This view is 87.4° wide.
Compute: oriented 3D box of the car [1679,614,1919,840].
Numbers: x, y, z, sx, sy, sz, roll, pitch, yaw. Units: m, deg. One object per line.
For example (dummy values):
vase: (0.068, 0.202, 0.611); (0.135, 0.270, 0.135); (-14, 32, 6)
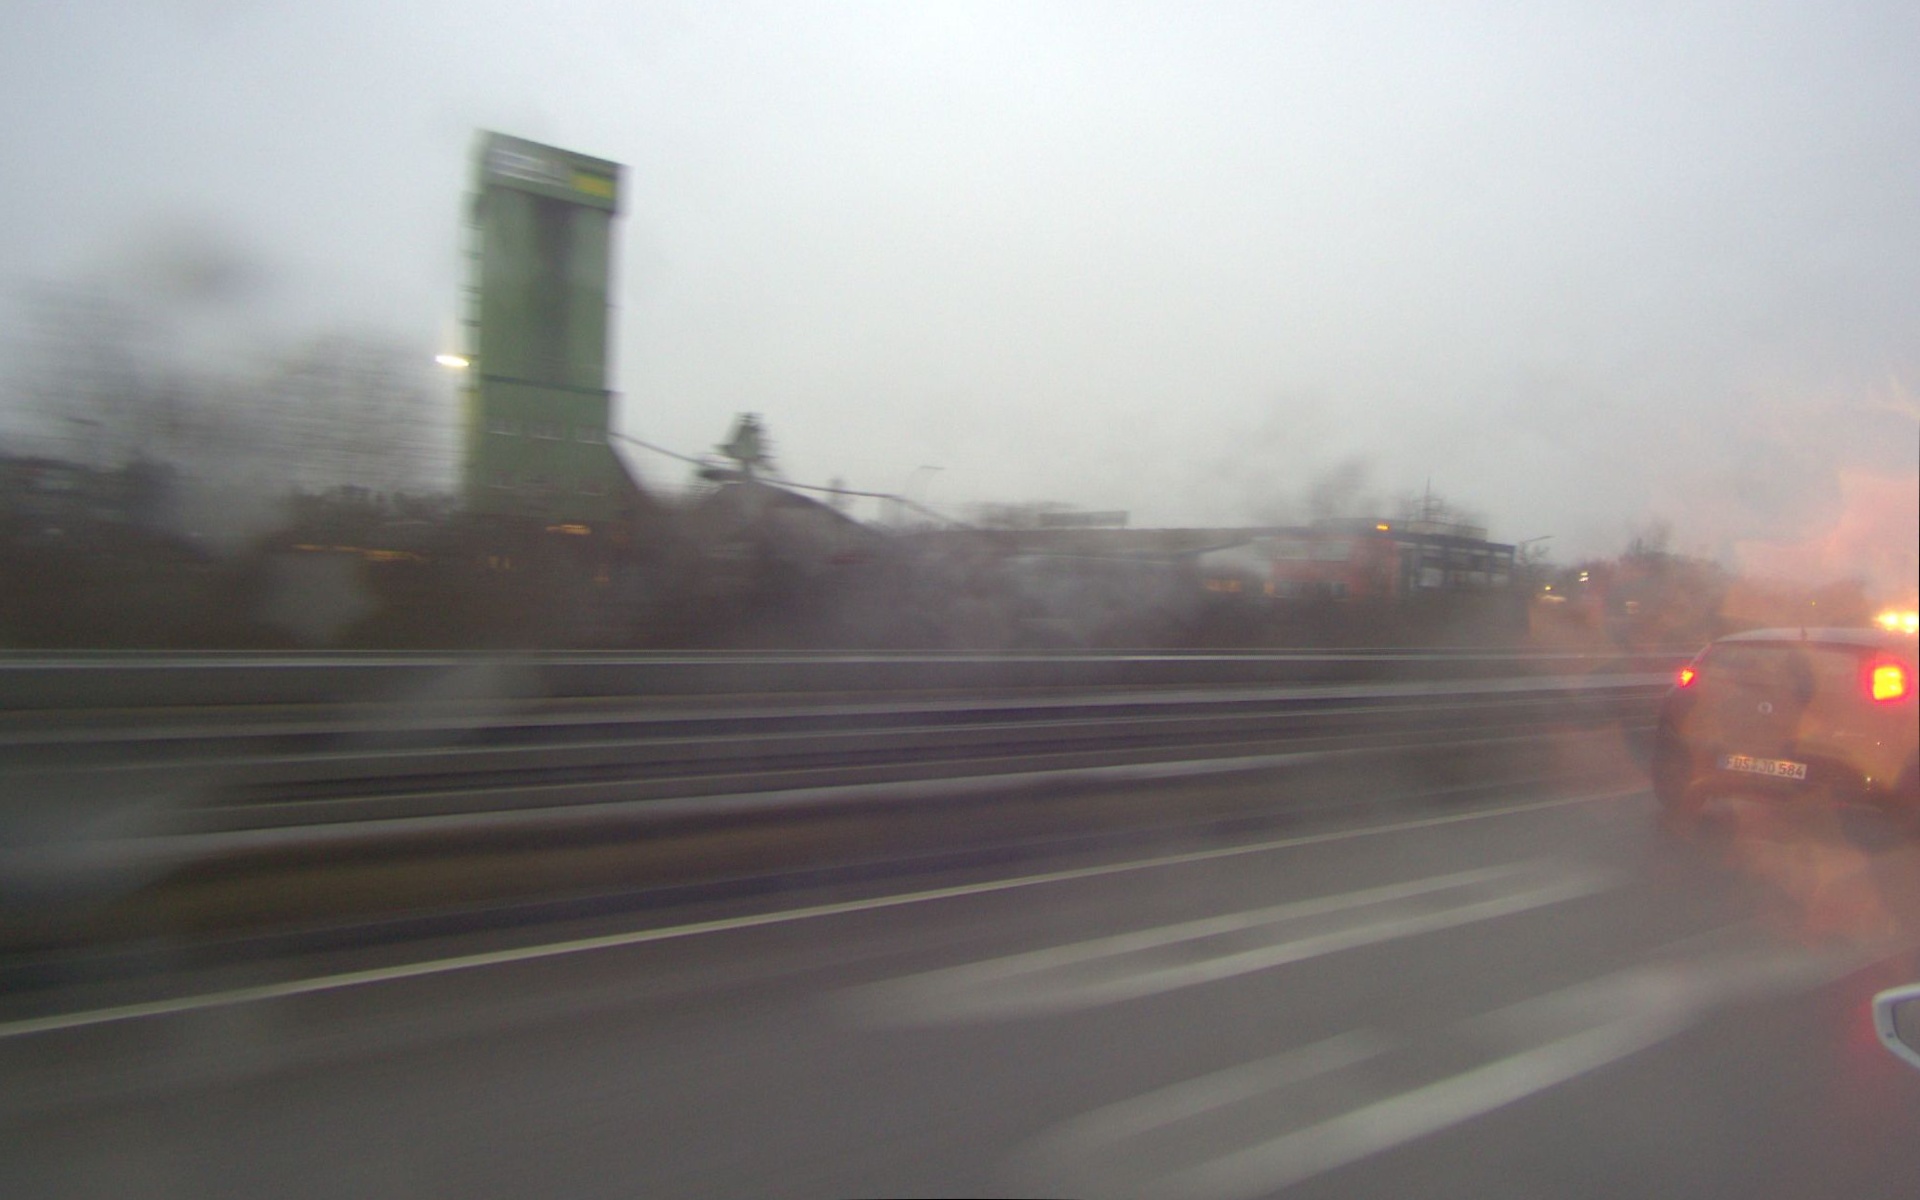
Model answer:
car: (7.580, 0.900, 7.976); (3.956, 1.410, 1.617); (2, 0, -32)

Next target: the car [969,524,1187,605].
car: (5.445, -1.471, 45.539); (9.815, 3.253, 3.179); (1, -1, -28)

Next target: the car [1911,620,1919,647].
car: (61.499, 2.101, 62.712); (4.632, 1.706, 1.786); (1, -1, -29)
